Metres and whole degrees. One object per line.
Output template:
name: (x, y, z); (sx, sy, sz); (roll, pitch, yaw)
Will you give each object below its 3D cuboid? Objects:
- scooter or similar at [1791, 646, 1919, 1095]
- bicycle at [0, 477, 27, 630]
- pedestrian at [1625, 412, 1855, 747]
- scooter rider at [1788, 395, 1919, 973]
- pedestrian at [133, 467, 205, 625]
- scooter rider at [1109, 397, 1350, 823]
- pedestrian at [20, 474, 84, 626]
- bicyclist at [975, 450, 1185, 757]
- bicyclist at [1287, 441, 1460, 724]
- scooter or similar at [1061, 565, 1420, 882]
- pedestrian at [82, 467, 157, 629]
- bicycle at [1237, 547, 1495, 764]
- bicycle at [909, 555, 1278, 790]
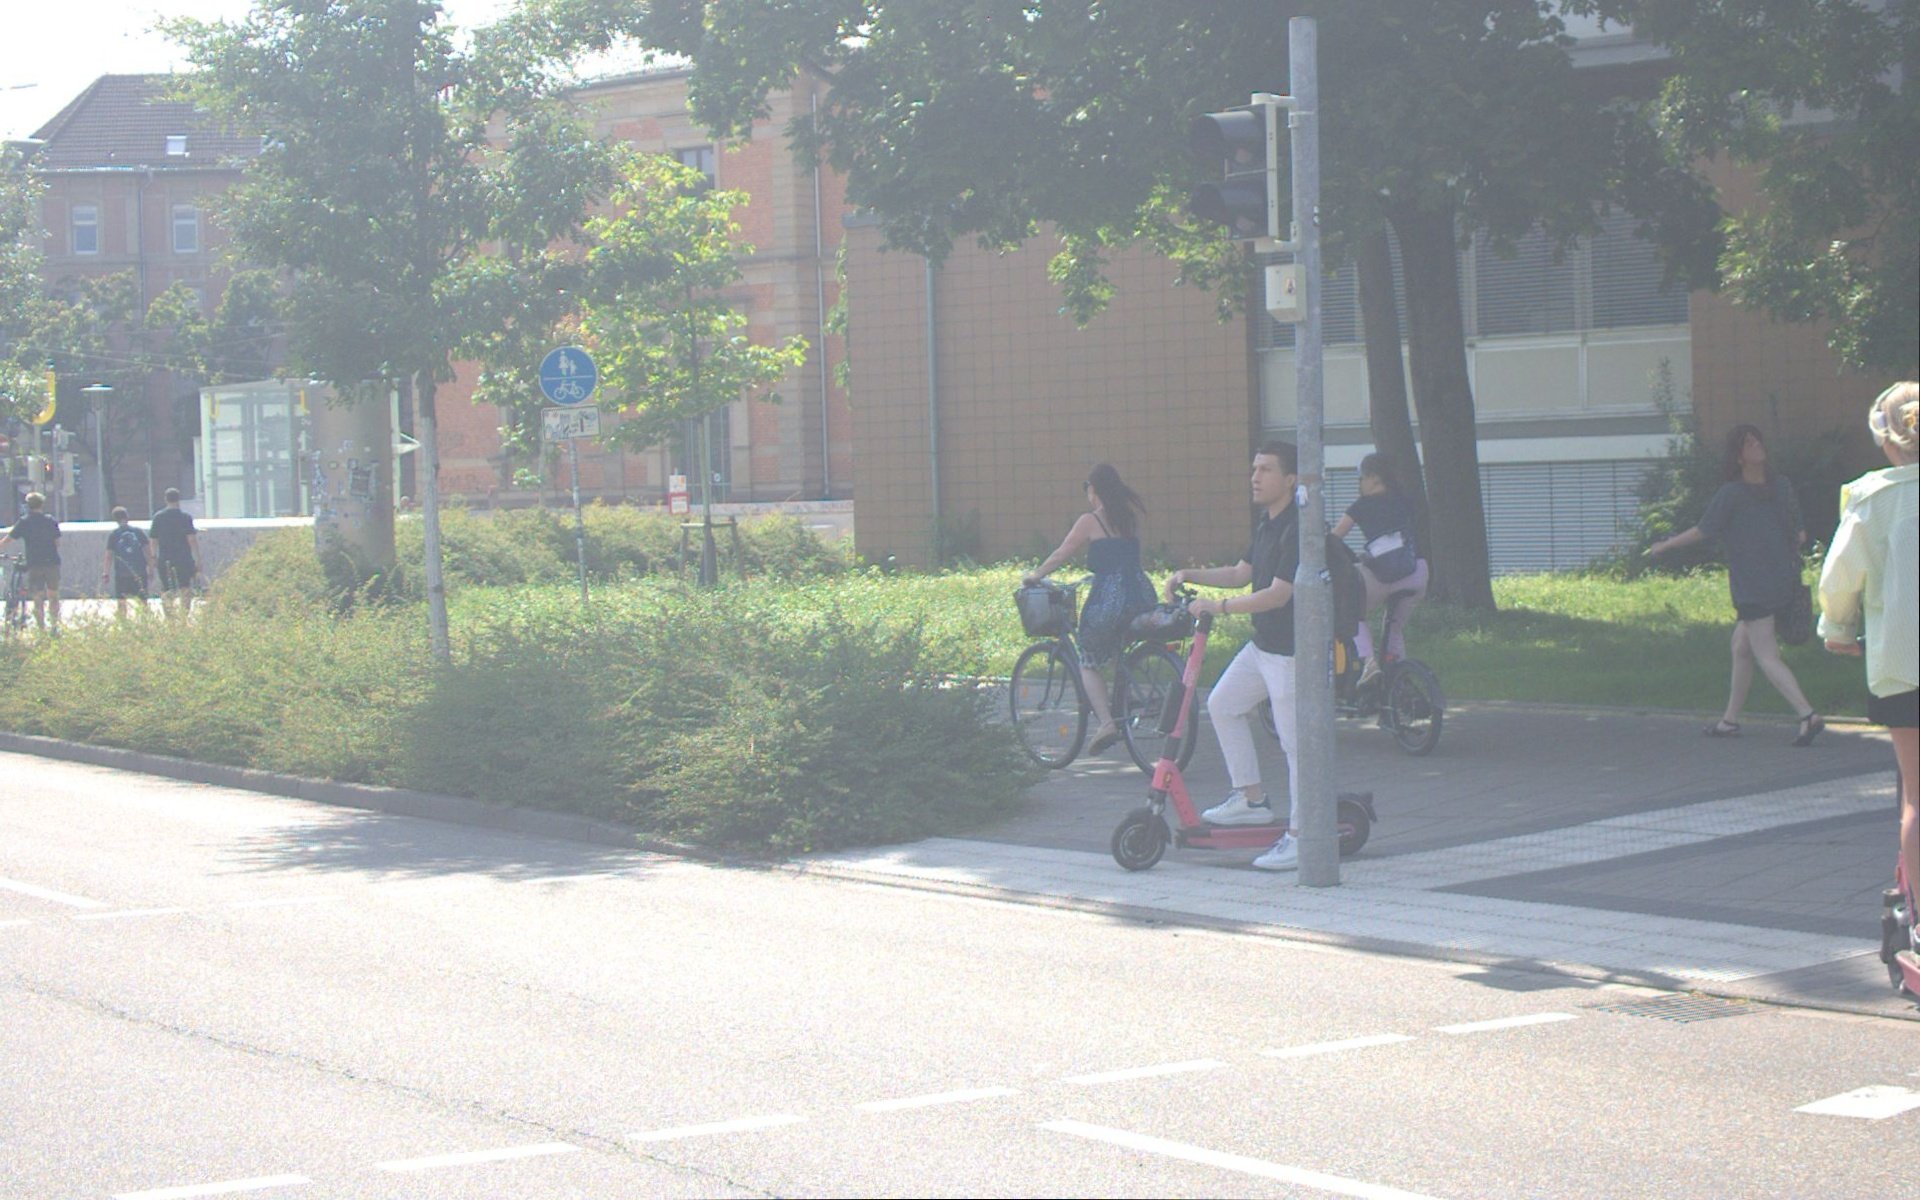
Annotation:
scooter or similar: (2.829, 0.740, 10.183); (0.556, 1.056, 2.003); (-1, 3, 9)
bicycle: (-11.800, -0.584, 42.342); (0.455, 1.853, 1.363); (-2, 2, -12)
pedestrian: (4.137, -0.122, 18.257); (0.706, 1.698, 0.879); (-5, 4, -35)
scooter rider: (2.848, 0.234, 10.303); (0.670, 1.693, 0.539); (0, 3, 9)
pedestrian: (-10.052, -0.693, 43.688); (0.777, 1.966, 0.754); (-2, 2, -9)
scooter rider: (1.140, 0.028, 14.642); (0.802, 1.733, 0.689); (-3, 2, -11)
pedestrian: (-11.278, -0.627, 42.718); (0.660, 1.853, 0.793); (-2, 2, -11)
bicyclist: (0.652, 0.006, 18.719); (0.690, 1.593, 0.844); (-5, 4, -34)
bicyclist: (2.276, -0.111, 18.974); (0.548, 1.491, 0.804); (-6, 4, -19)
scooter or similar: (1.194, 0.511, 14.726); (1.363, 1.230, 0.585); (-4, 2, -11)
pedestrian: (-10.456, -0.656, 42.777); (0.777, 1.966, 0.754); (-2, 2, -9)
bicycle: (2.236, 0.279, 19.196); (0.556, 1.056, 2.005); (-5, 4, -19)
bicycle: (0.686, 0.355, 18.714); (0.694, 1.151, 2.371); (-5, 4, -34)
